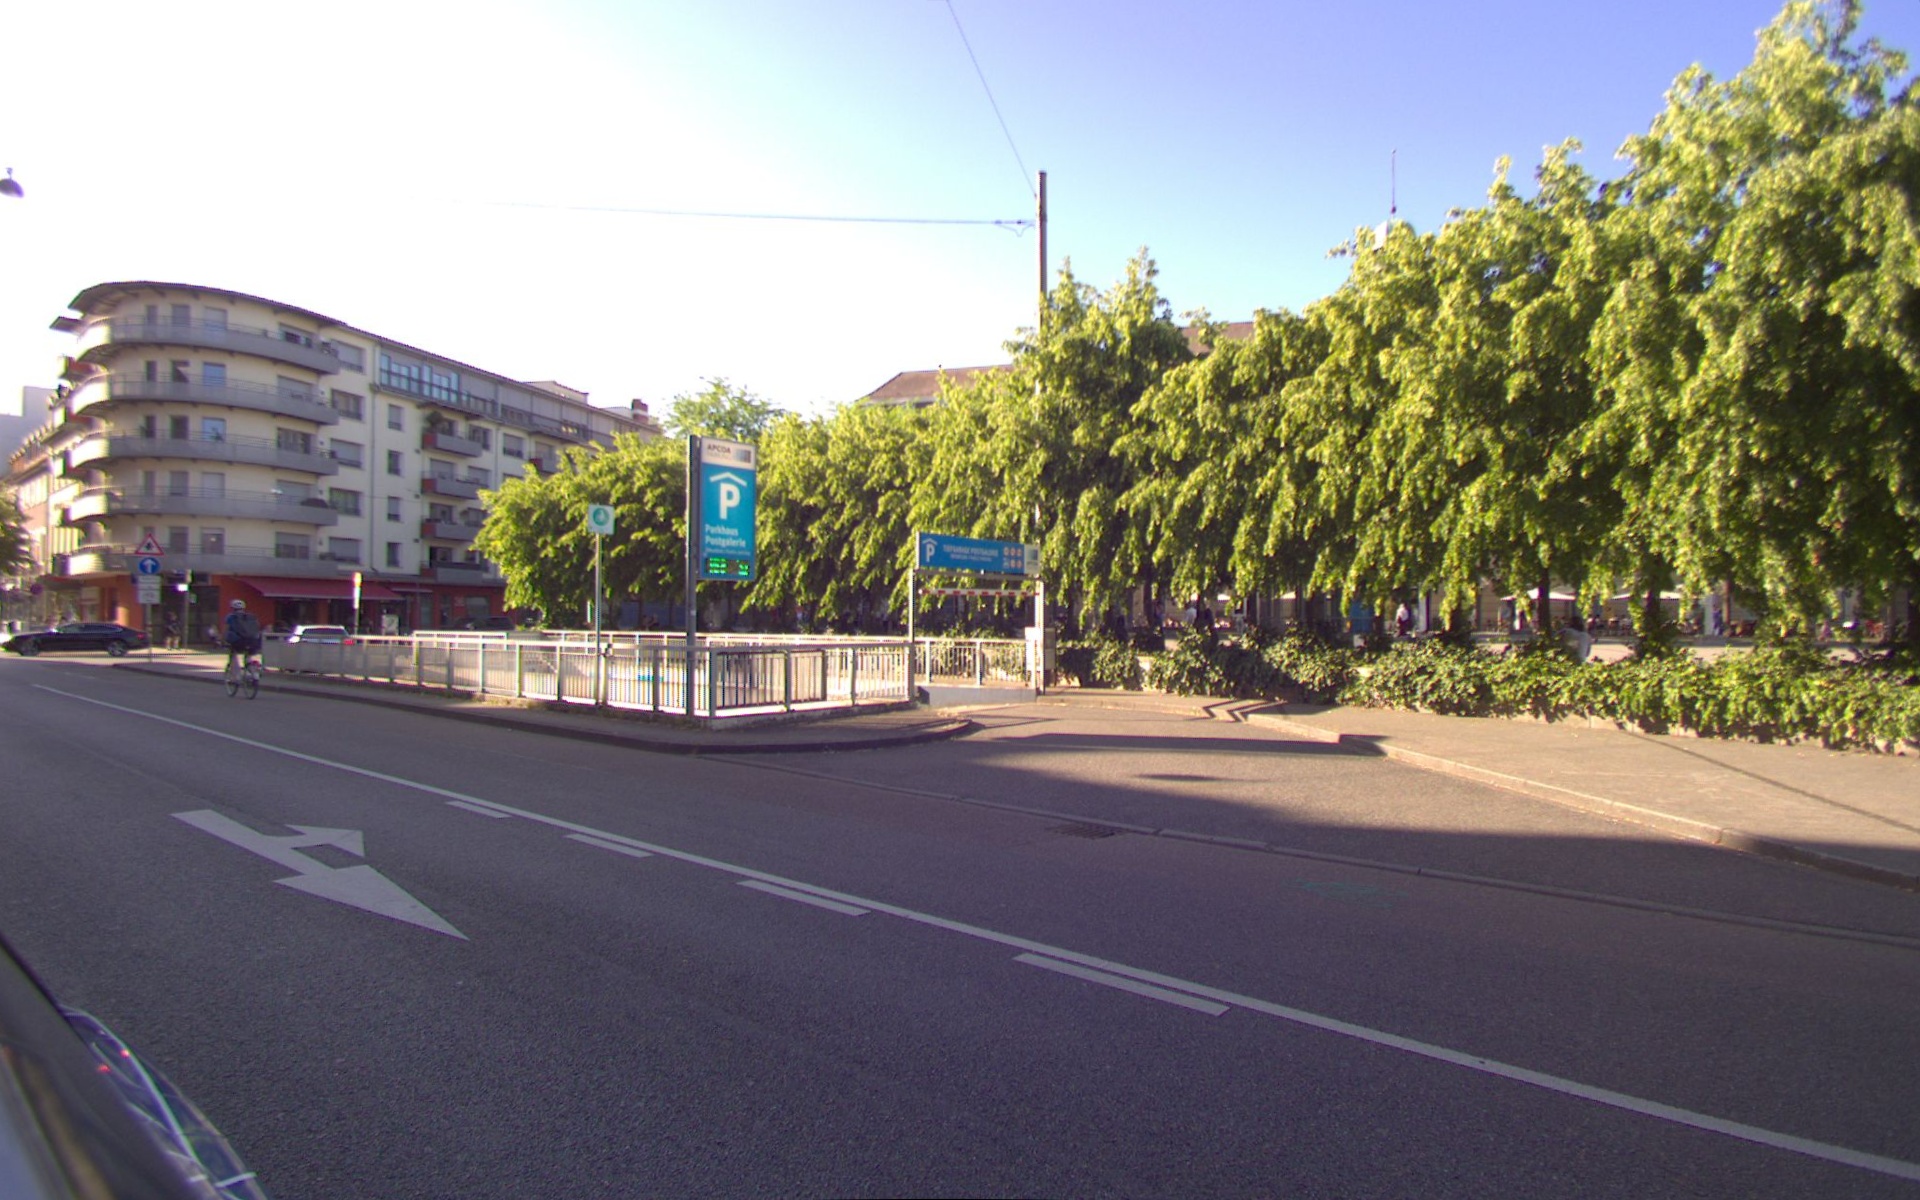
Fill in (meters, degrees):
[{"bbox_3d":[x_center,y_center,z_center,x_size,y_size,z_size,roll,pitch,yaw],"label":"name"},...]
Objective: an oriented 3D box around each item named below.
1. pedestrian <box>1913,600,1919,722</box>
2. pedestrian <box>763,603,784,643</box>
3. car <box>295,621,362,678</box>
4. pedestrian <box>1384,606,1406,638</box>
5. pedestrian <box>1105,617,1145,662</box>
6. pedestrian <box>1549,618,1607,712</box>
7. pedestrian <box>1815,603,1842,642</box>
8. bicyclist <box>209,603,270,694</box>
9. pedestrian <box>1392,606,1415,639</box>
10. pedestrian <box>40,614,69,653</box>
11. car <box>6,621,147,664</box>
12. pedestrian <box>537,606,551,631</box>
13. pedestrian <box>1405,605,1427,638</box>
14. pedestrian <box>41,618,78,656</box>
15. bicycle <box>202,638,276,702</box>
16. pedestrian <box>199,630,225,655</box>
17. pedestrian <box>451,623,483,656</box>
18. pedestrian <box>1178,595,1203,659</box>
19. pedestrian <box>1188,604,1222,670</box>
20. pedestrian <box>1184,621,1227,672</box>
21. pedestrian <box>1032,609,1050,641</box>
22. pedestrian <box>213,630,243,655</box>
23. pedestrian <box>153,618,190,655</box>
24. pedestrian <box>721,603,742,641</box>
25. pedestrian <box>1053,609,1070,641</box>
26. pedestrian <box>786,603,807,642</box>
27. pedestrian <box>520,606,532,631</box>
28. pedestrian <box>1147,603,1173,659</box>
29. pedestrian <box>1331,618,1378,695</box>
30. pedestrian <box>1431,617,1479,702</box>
[{"bbox_3d":[12.257,0.760,12.386,0.691,1.532,0.677,-1,0,30],"label":"pedestrian"},{"bbox_3d":[-9.009,1.103,48.861,0.681,1.877,0.741,-1,0,27],"label":"pedestrian"},{"bbox_3d":[-19.315,1.455,30.881,1.611,1.542,3.918,-1,0,-34],"label":"car"},{"bbox_3d":[20.842,1.048,48.456,0.673,1.535,0.695,-1,0,-7],"label":"pedestrian"},{"bbox_3d":[4.079,0.957,24.976,0.682,1.079,0.686,-1,0,-29],"label":"pedestrian"},{"bbox_3d":[9.813,1.014,16.080,0.611,1.447,0.588,-1,0,14],"label":"pedestrian"},{"bbox_3d":[34.183,0.881,39.848,0.739,1.542,0.685,-1,0,36],"label":"pedestrian"},{"bbox_3d":[-14.010,0.933,19.676,0.809,1.722,0.694,-1,-3,38],"label":"bicyclist"},{"bbox_3d":[20.797,1.048,47.468,0.672,1.536,0.696,-1,0,-19],"label":"pedestrian"},{"bbox_3d":[-46.335,1.706,51.806,0.790,1.934,0.978,-1,0,37],"label":"pedestrian"},{"bbox_3d":[-35.871,1.697,41.254,4.180,1.542,1.681,-1,0,-36],"label":"car"},{"bbox_3d":[-31.283,1.401,76.022,0.684,1.857,0.737,-1,0,41],"label":"pedestrian"},{"bbox_3d":[21.708,1.036,48.187,0.672,1.542,0.696,-1,0,-18],"label":"pedestrian"},{"bbox_3d":[-43.227,1.765,48.591,1.076,1.732,1.059,-1,0,29],"label":"pedestrian"},{"bbox_3d":[-14.020,1.336,19.662,1.955,1.171,0.610,0,-3,39],"label":"bicycle"},{"bbox_3d":[-37.634,2.141,50.930,0.882,1.207,0.772,-1,0,30],"label":"pedestrian"},{"bbox_3d":[-26.060,2.074,53.514,1.253,1.678,1.141,-1,0,-41],"label":"pedestrian"},{"bbox_3d":[5.782,0.669,25.347,0.522,1.594,0.680,-1,0,19],"label":"pedestrian"},{"bbox_3d":[5.712,0.854,23.562,0.688,1.511,0.680,-1,0,19],"label":"pedestrian"},{"bbox_3d":[5.440,1.019,22.443,0.682,1.079,0.686,-1,0,-13],"label":"pedestrian"},{"bbox_3d":[3.583,1.119,44.844,0.752,1.385,0.684,-1,0,1],"label":"pedestrian"},{"bbox_3d":[-36.813,2.130,50.885,0.827,1.207,0.931,-1,0,16],"label":"pedestrian"},{"bbox_3d":[-38.324,1.759,49.187,0.951,1.762,1.058,-1,0,8],"label":"pedestrian"},{"bbox_3d":[-11.334,1.078,50.196,0.679,1.857,0.743,-1,0,19],"label":"pedestrian"},{"bbox_3d":[4.478,1.107,44.807,0.684,1.385,0.684,-1,0,1],"label":"pedestrian"},{"bbox_3d":[-8.026,1.099,49.714,0.681,1.857,0.741,-1,0,27],"label":"pedestrian"},{"bbox_3d":[-33.513,1.430,78.127,0.735,1.857,0.686,-1,0,-11],"label":"pedestrian"},{"bbox_3d":[5.052,0.778,25.591,0.545,1.385,0.680,-1,0,19],"label":"pedestrian"},{"bbox_3d":[7.530,1.062,19.335,0.622,1.409,0.644,-1,0,44],"label":"pedestrian"},{"bbox_3d":[8.757,1.027,17.888,0.621,1.447,0.645,-1,0,39],"label":"pedestrian"}]
